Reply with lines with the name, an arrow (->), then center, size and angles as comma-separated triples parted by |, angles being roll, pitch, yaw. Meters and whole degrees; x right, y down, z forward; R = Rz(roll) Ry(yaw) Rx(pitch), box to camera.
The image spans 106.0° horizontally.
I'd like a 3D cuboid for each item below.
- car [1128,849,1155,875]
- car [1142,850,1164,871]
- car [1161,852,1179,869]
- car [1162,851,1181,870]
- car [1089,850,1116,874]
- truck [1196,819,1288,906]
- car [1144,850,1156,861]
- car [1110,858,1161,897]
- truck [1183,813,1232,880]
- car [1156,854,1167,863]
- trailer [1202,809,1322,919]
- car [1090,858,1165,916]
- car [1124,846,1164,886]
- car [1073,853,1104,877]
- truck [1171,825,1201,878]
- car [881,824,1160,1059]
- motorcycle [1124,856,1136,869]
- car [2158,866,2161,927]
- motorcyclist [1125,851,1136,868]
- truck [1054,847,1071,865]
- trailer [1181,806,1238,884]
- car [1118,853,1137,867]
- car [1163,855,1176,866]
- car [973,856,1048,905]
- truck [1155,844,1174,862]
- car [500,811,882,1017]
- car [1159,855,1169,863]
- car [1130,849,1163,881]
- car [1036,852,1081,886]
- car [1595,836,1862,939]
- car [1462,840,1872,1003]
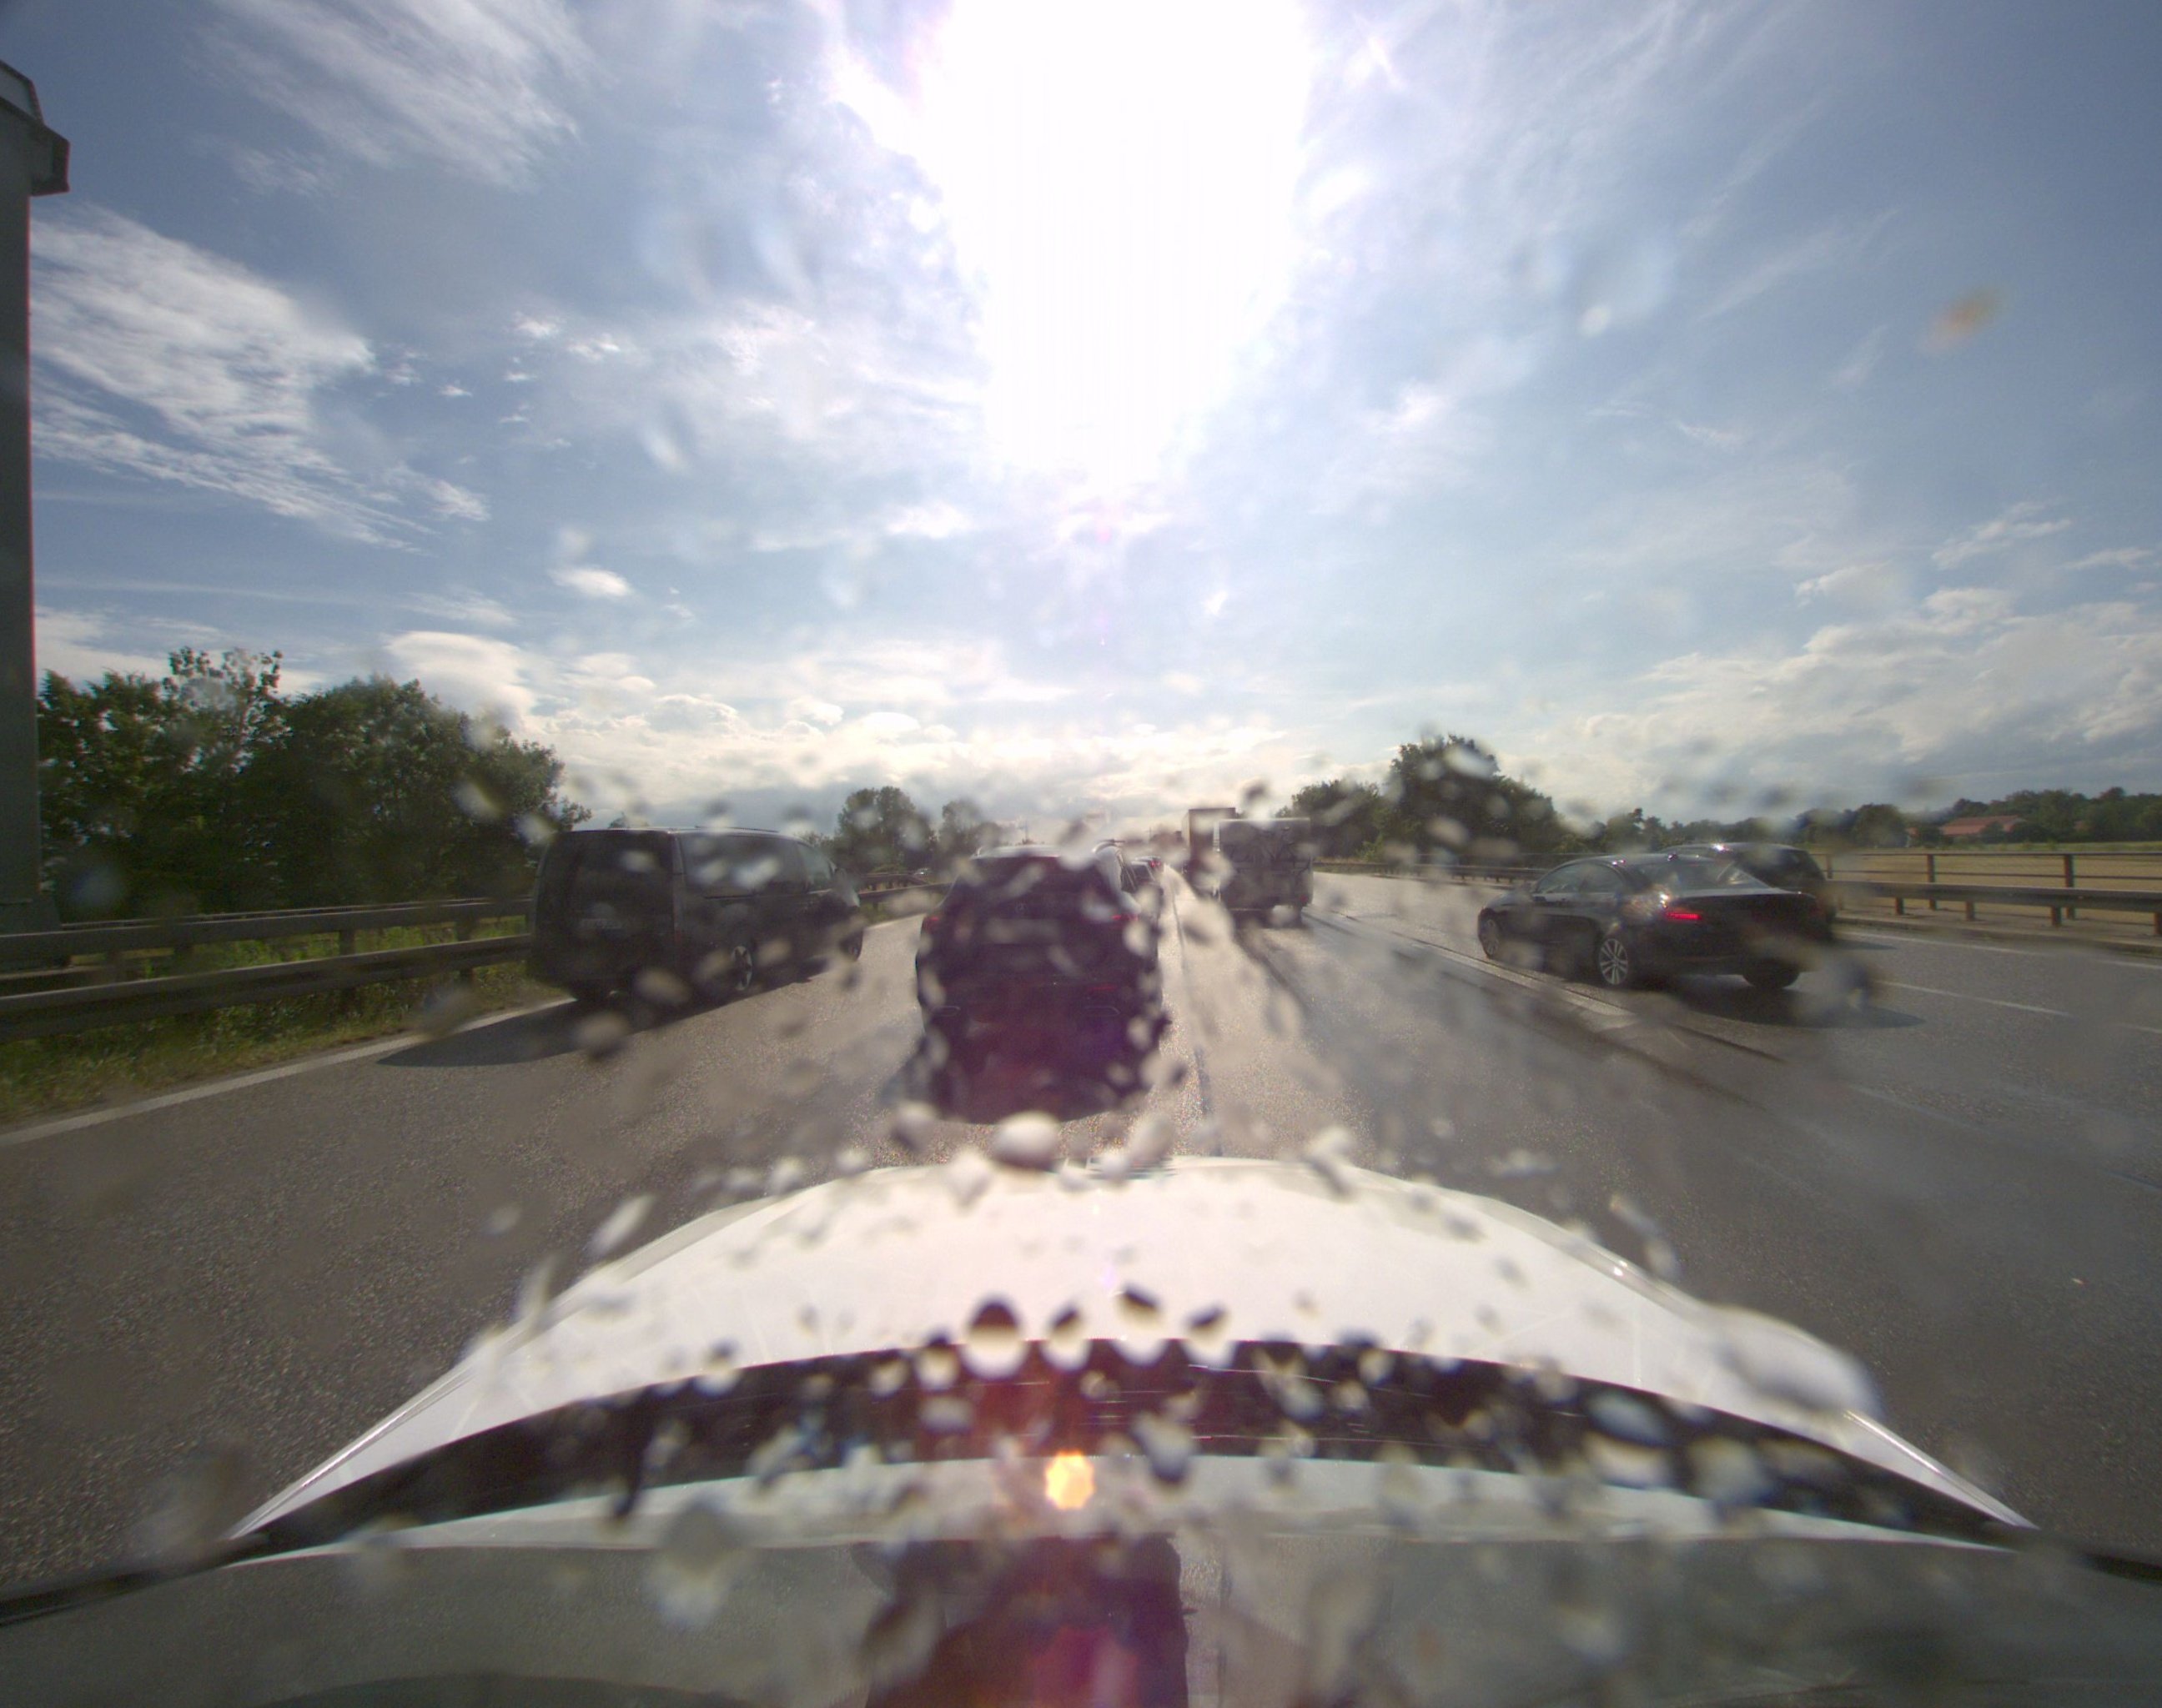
car -> 4.933, 0.618, 65.766 | 1.983, 2.014, 4.007 | -2, 0, 6
car -> 6.961, 0.616, 78.357 | 1.983, 2.014, 4.007 | -1, 0, 6
car -> 10.785, 0.788, 98.435 | 1.983, 2.013, 4.007 | 2, 0, 6
car -> 9.853, 0.727, 88.493 | 1.983, 2.013, 4.007 | 0, 0, 6
car -> 1.955, 0.714, 71.861 | 1.983, 2.013, 4.007 | 2, 0, 6
truck -> 5.053, 0.268, 26.357 | 2.362, 2.477, 5.765 | -1, 0, 6
car -> 11.930, 0.287, 141.261 | 1.868, 1.760, 4.003 | -1, 0, 3
car -> 2.175, 0.860, 31.726 | 1.797, 1.407, 4.007 | -1, 0, 6
truck -> 8.302, -0.441, 53.854 | 2.978, 4.166, 5.251 | -1, 0, 8
car -> 15.377, 0.856, 155.254 | 1.868, 1.760, 4.003 | -1, 0, 3
trailer -> 4.622, 0.253, 21.928 | 2.362, 2.483, 6.533 | -1, 0, 6
car -> 1.352, 0.821, 21.986 | 1.748, 1.387, 3.952 | -1, 0, 7
car -> 3.423, 0.632, 43.810 | 1.983, 2.014, 4.007 | -1, 0, 6
car -> 0.630, 0.806, 62.820 | 1.983, 1.772, 4.007 | -1, 0, 6
truck -> 10.214, -0.209, 79.525 | 2.490, 4.830, 7.552 | -1, -1, 5
car -> -0.235, 0.653, 8.064 | 1.984, 1.661, 4.412 | -1, -1, 6
motorcycle -> 5.032, 0.896, 82.969 | 1.068, 1.271, 2.695 | -1, 0, 6
car -> 4.166, 0.681, 0.183 | 1.821, 1.425, 4.509 | -2, -1, -1
motorcyclist -> 5.026, 0.546, 82.978 | 1.058, 1.718, 0.786 | -1, -1, 6
truck -> -4.025, 0.462, 179.303 | 2.848, 3.821, 7.889 | -1, -1, 5
trailer -> 7.538, -0.453, 48.353 | 2.990, 4.166, 8.554 | -1, 0, 8
car -> 5.835, 0.757, 101.613 | 1.983, 1.616, 4.007 | 2, 0, 6
car -> 14.817, 1.040, 136.137 | 1.868, 1.760, 4.003 | -1, 0, 3
car -> -2.343, 0.852, 28.151 | 1.748, 1.516, 4.216 | -1, 0, 7
truck -> 20.067, -0.210, 196.237 | 3.828, 4.017, 11.225 | -1, 0, 2
car -> -4.558, 0.613, 10.749 | 1.983, 2.013, 5.279 | -1, 0, 7
car -> 17.951, 1.143, 175.652 | 1.868, 1.760, 4.003 | -1, 0, 3
car -> 4.447, 0.704, 54.896 | 1.983, 2.013, 4.007 | 2, 0, 6
car -> -1.139, 0.778, 43.803 | 1.984, 1.720, 4.005 | -1, 0, 4
car -> 11.228, 0.535, 14.556 | 1.839, 1.568, 4.006 | -1, -1, 6
car -> 6.475, 0.651, 9.744 | 1.842, 1.464, 4.256 | -2, -1, 1
